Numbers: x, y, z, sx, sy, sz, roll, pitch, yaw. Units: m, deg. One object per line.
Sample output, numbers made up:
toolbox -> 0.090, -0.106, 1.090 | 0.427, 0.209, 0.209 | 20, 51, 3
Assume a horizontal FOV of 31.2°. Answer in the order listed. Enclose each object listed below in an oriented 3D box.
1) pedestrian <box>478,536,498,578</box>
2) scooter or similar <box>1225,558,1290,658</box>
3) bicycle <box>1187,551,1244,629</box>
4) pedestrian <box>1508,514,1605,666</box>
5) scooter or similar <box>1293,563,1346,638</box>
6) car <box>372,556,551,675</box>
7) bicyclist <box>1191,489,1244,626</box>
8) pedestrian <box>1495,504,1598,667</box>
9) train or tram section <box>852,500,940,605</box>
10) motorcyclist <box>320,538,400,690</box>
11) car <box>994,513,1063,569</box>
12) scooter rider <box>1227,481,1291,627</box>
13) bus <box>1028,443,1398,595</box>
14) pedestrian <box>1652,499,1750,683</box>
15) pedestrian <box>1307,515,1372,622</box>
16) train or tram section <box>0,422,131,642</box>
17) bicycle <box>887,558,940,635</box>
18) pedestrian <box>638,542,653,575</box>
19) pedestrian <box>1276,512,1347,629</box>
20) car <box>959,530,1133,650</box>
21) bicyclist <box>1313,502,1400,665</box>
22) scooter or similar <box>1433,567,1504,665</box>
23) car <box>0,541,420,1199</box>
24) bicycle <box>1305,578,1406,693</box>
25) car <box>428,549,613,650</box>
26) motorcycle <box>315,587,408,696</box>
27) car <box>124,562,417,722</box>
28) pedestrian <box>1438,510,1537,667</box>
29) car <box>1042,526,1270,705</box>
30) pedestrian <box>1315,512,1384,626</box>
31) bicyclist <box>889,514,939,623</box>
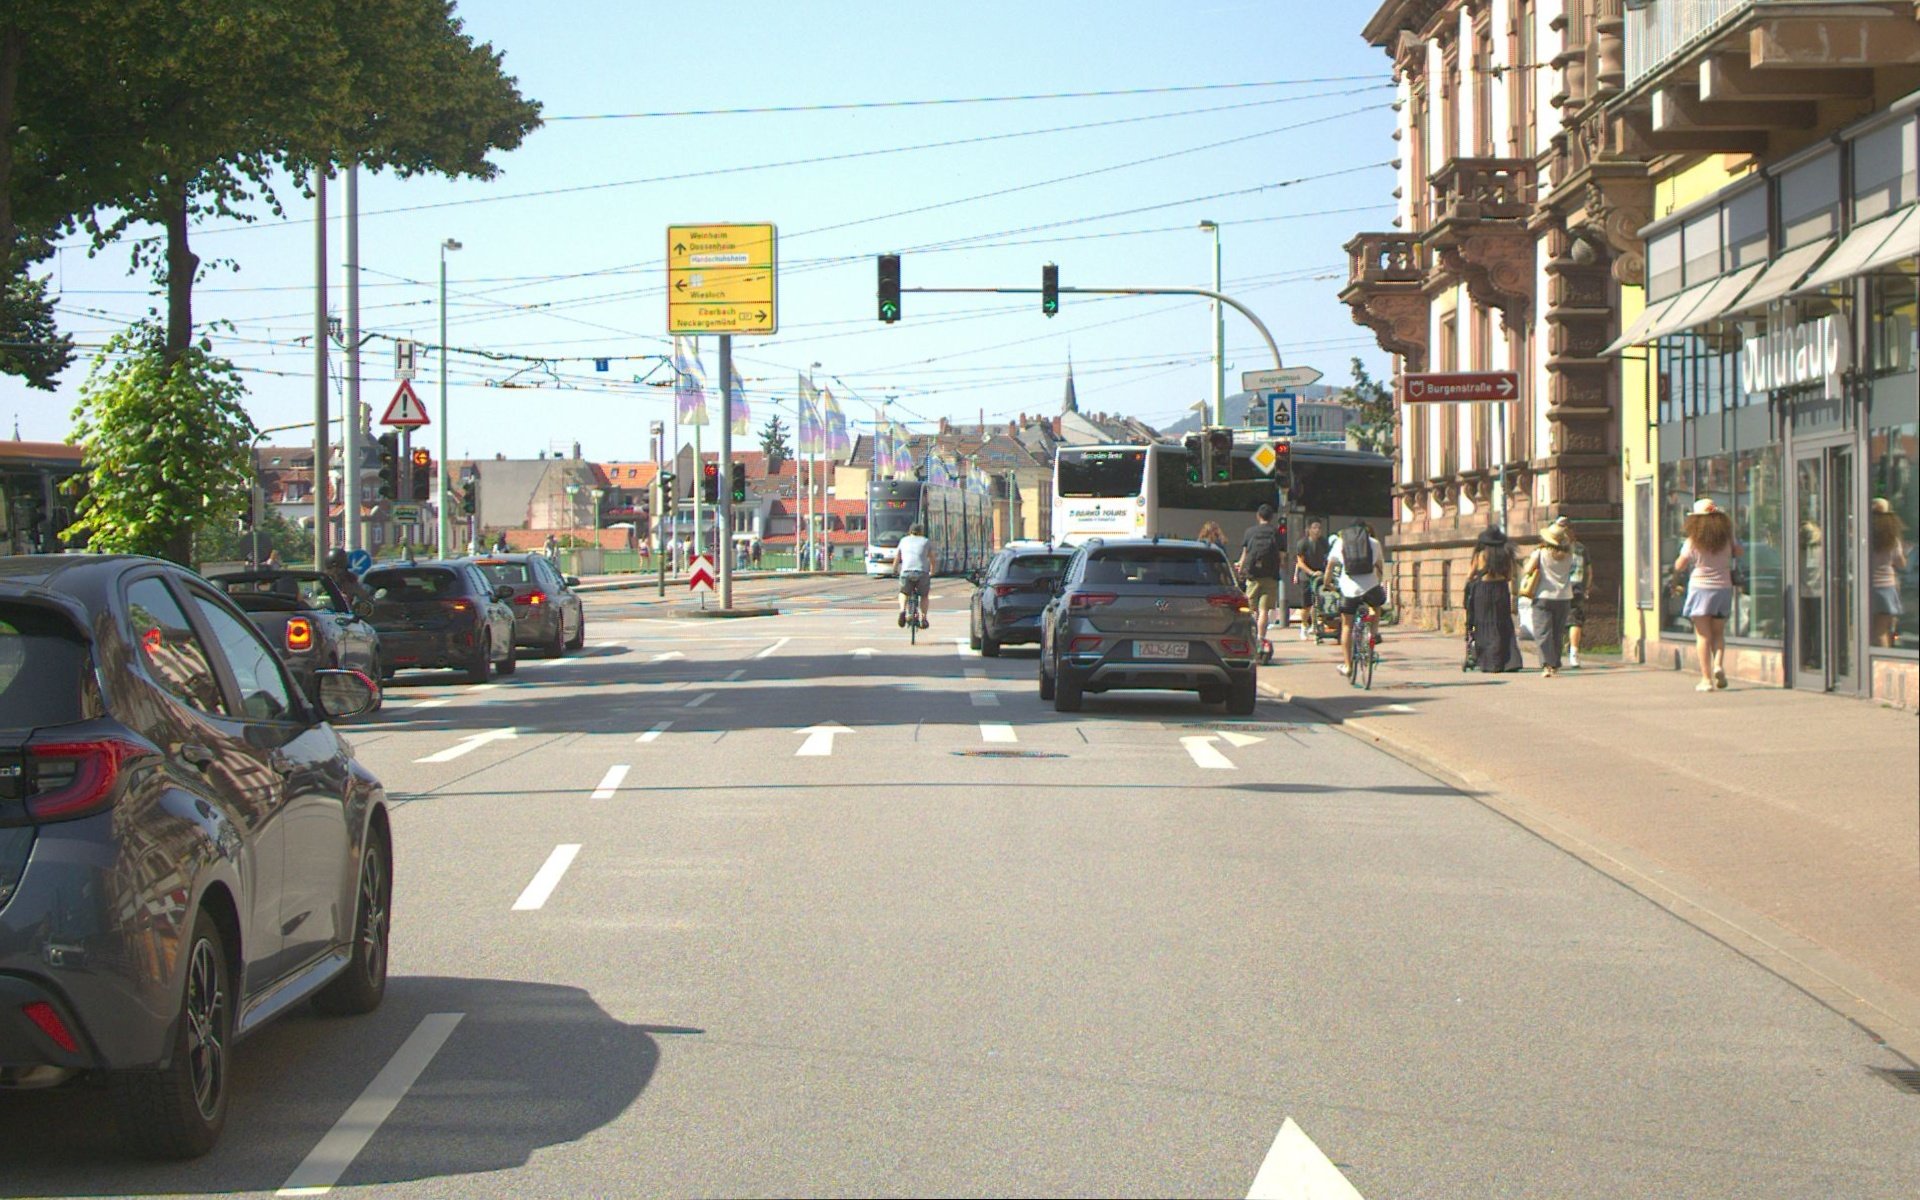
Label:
pedestrian -> -16.042, -1.450, 116.877 | 0.558, 1.411, 0.636 | 1, 0, -2
scooter or similar -> 3.559, 0.090, 41.261 | 0.688, 1.163, 1.464 | 1, 0, 3
bicycle -> 3.717, -0.146, 50.079 | 0.734, 1.089, 1.898 | 1, 0, 2
pedestrian -> 6.560, -0.110, 37.837 | 0.862, 1.634, 0.876 | 1, 0, -2
scooter or similar -> 5.047, 0.003, 48.309 | 0.600, 1.044, 0.799 | 1, 0, -2
car -> -5.834, 0.162, 40.590 | 1.451, 1.296, 4.000 | 1, 0, 1
bicyclist -> 3.742, -0.613, 50.009 | 0.688, 1.955, 0.778 | 1, 0, 3
pedestrian -> 6.043, -0.155, 35.436 | 0.862, 1.634, 0.876 | -1, 1, -2
train or tram section -> -2.367, -1.809, 130.030 | 2.822, 3.764, 8.226 | 1, 1, 2
motorcyclist -> -6.305, 0.148, 36.150 | 0.689, 1.550, 0.718 | -2, -1, -3
car -> 1.927, -1.663, 97.307 | 1.859, 1.502, 4.000 | 1, 0, 1
scooter rider -> 3.592, -0.553, 41.294 | 0.688, 1.723, 0.778 | 1, 0, 3
bus -> 5.209, -1.560, 68.956 | 2.976, 2.767, 8.621 | 2, 0, 39
pedestrian -> 6.648, -0.091, 30.861 | 0.654, 1.615, 0.815 | -1, 1, -2
pedestrian -> 5.883, -0.486, 53.339 | 0.862, 1.634, 0.876 | 1, 0, -2
train or tram section -> -16.785, -1.144, 57.099 | 2.823, 3.569, 8.223 | 1, 0, 9
bicycle -> -0.696, -0.059, 50.911 | 0.734, 1.089, 1.898 | 1, 0, -2
pedestrian -> -13.440, -1.769, 146.972 | 0.558, 1.411, 0.636 | 1, 0, -2
pedestrian -> 5.015, -0.426, 49.044 | 0.862, 1.634, 0.876 | 1, 0, -2
car -> 1.098, -0.140, 45.917 | 1.993, 1.487, 4.000 | 1, 0, -3
bicyclist -> 3.926, -0.163, 34.076 | 0.688, 1.571, 1.049 | 1, 0, -1
scooter or similar -> 5.537, 0.170, 37.476 | 0.600, 1.044, 0.799 | 1, 0, -2
car -> -2.687, 0.618, 9.528 | 1.777, 1.470, 4.000 | -2, 0, -1
bicycle -> 3.915, 0.333, 34.128 | 0.734, 1.089, 1.898 | 1, 0, -1
car -> -6.180, -0.022, 48.735 | 2.037, 1.328, 4.000 | 1, 0, 1
motorcycle -> -6.300, 0.419, 36.269 | 0.698, 1.060, 1.910 | -2, 1, -3
car -> -6.243, 0.348, 31.560 | 1.815, 1.328, 4.000 | 1, 0, 1
pedestrian -> 5.656, -0.126, 36.882 | 0.862, 1.634, 0.876 | 1, 0, -2
car -> 1.729, 0.122, 31.473 | 1.874, 1.487, 4.000 | 1, 0, 1
pedestrian -> 5.688, -0.464, 50.206 | 0.862, 1.634, 0.876 | -1, 1, -2
bicyclist -> -0.679, -0.467, 50.851 | 0.688, 1.571, 1.049 | 1, 0, -2
